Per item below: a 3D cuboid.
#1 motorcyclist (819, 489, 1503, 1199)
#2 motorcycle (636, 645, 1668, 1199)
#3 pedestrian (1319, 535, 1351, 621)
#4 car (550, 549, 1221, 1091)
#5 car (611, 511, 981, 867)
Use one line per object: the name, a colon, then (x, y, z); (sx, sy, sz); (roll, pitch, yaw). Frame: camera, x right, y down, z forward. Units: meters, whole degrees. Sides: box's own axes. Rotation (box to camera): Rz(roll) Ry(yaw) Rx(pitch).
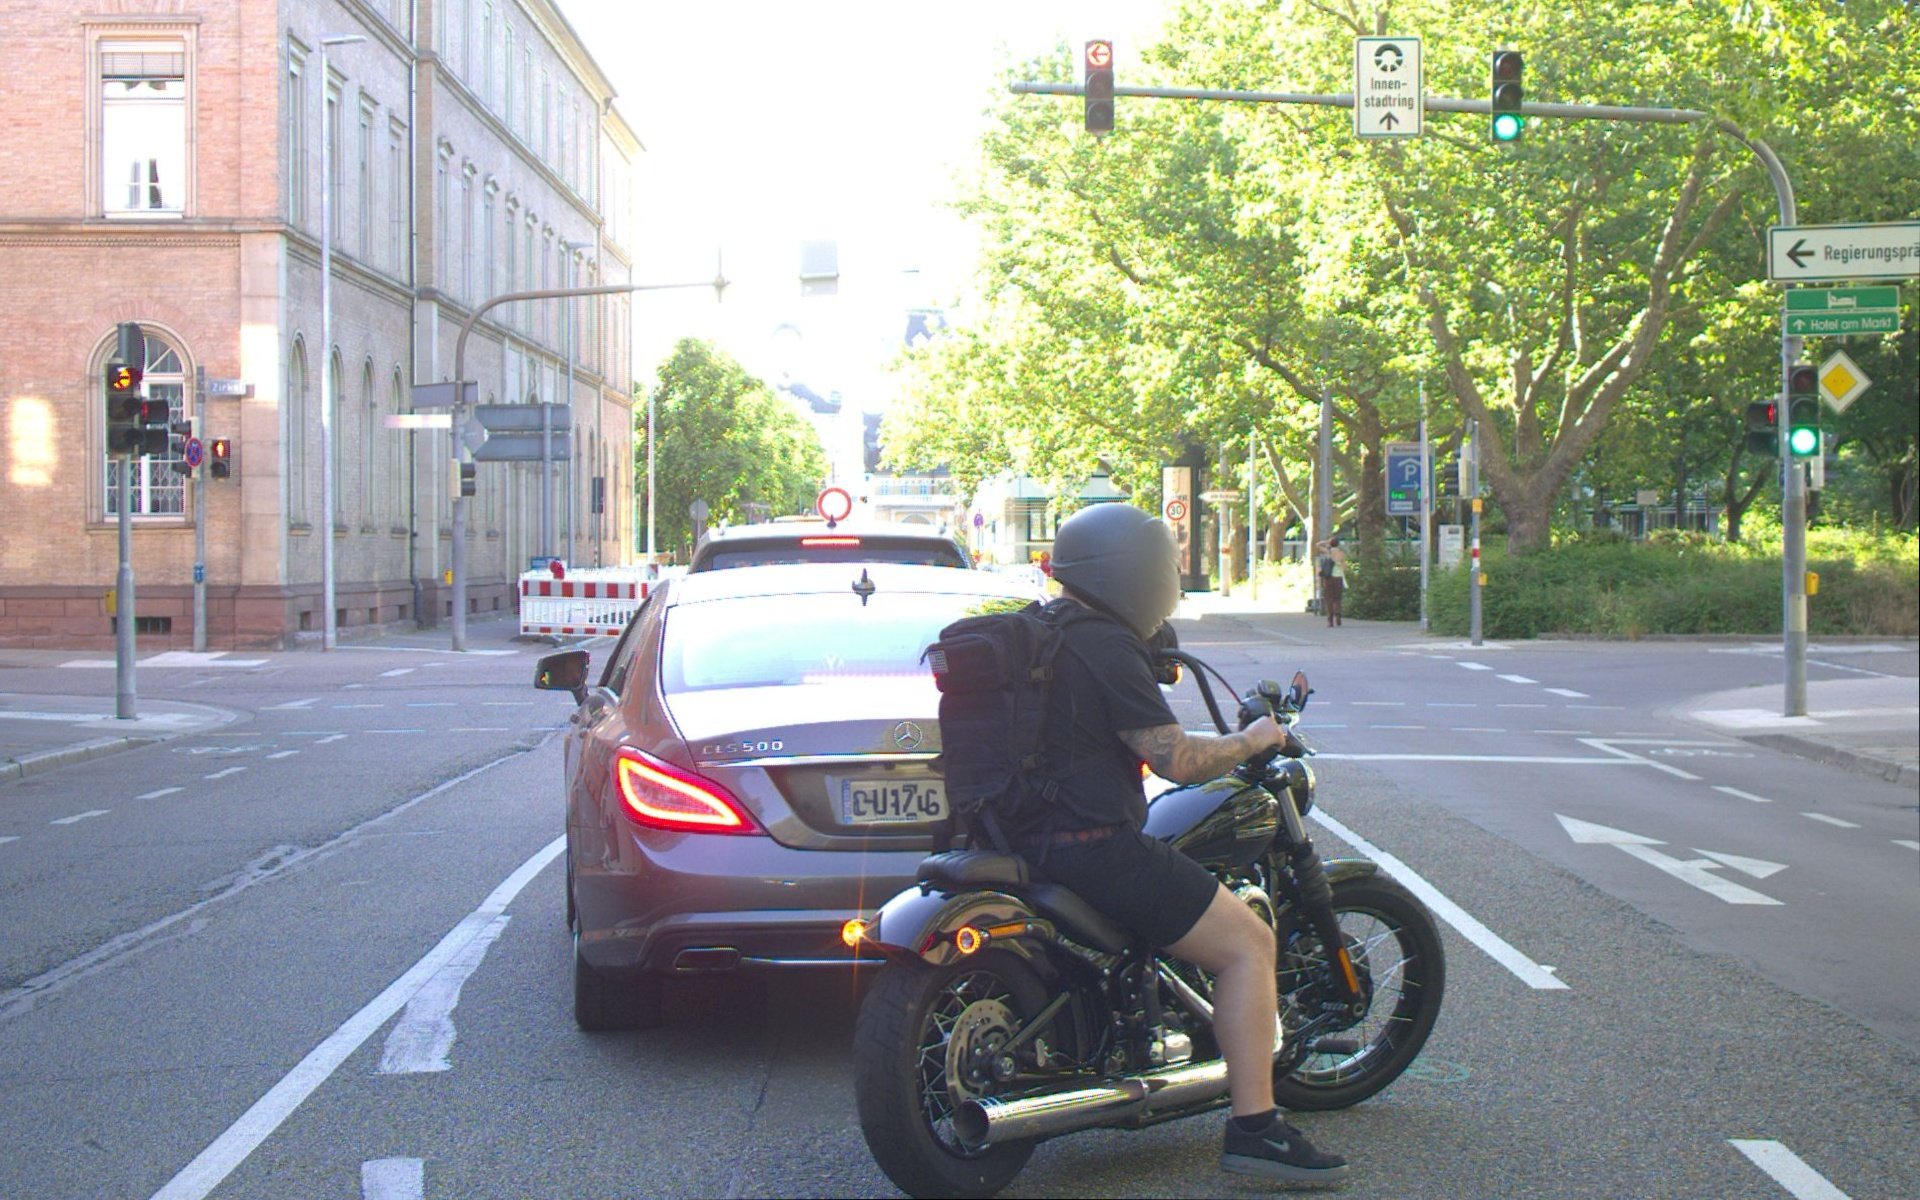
motorcyclist: (0.483, 0.551, 8.177); (1.116, 1.607, 1.199); (1, 1, 43)
motorcycle: (0.554, 0.748, 8.250); (1.010, 1.200, 2.658); (1, 1, 43)
pedestrian: (7.320, -0.424, 67.122); (0.559, 1.672, 0.565); (0, 1, -1)
car: (-0.453, 0.568, 11.636); (1.821, 1.471, 4.354); (0, 1, -7)
car: (-0.807, 0.374, 17.572); (1.681, 1.619, 3.841); (0, 1, -2)
